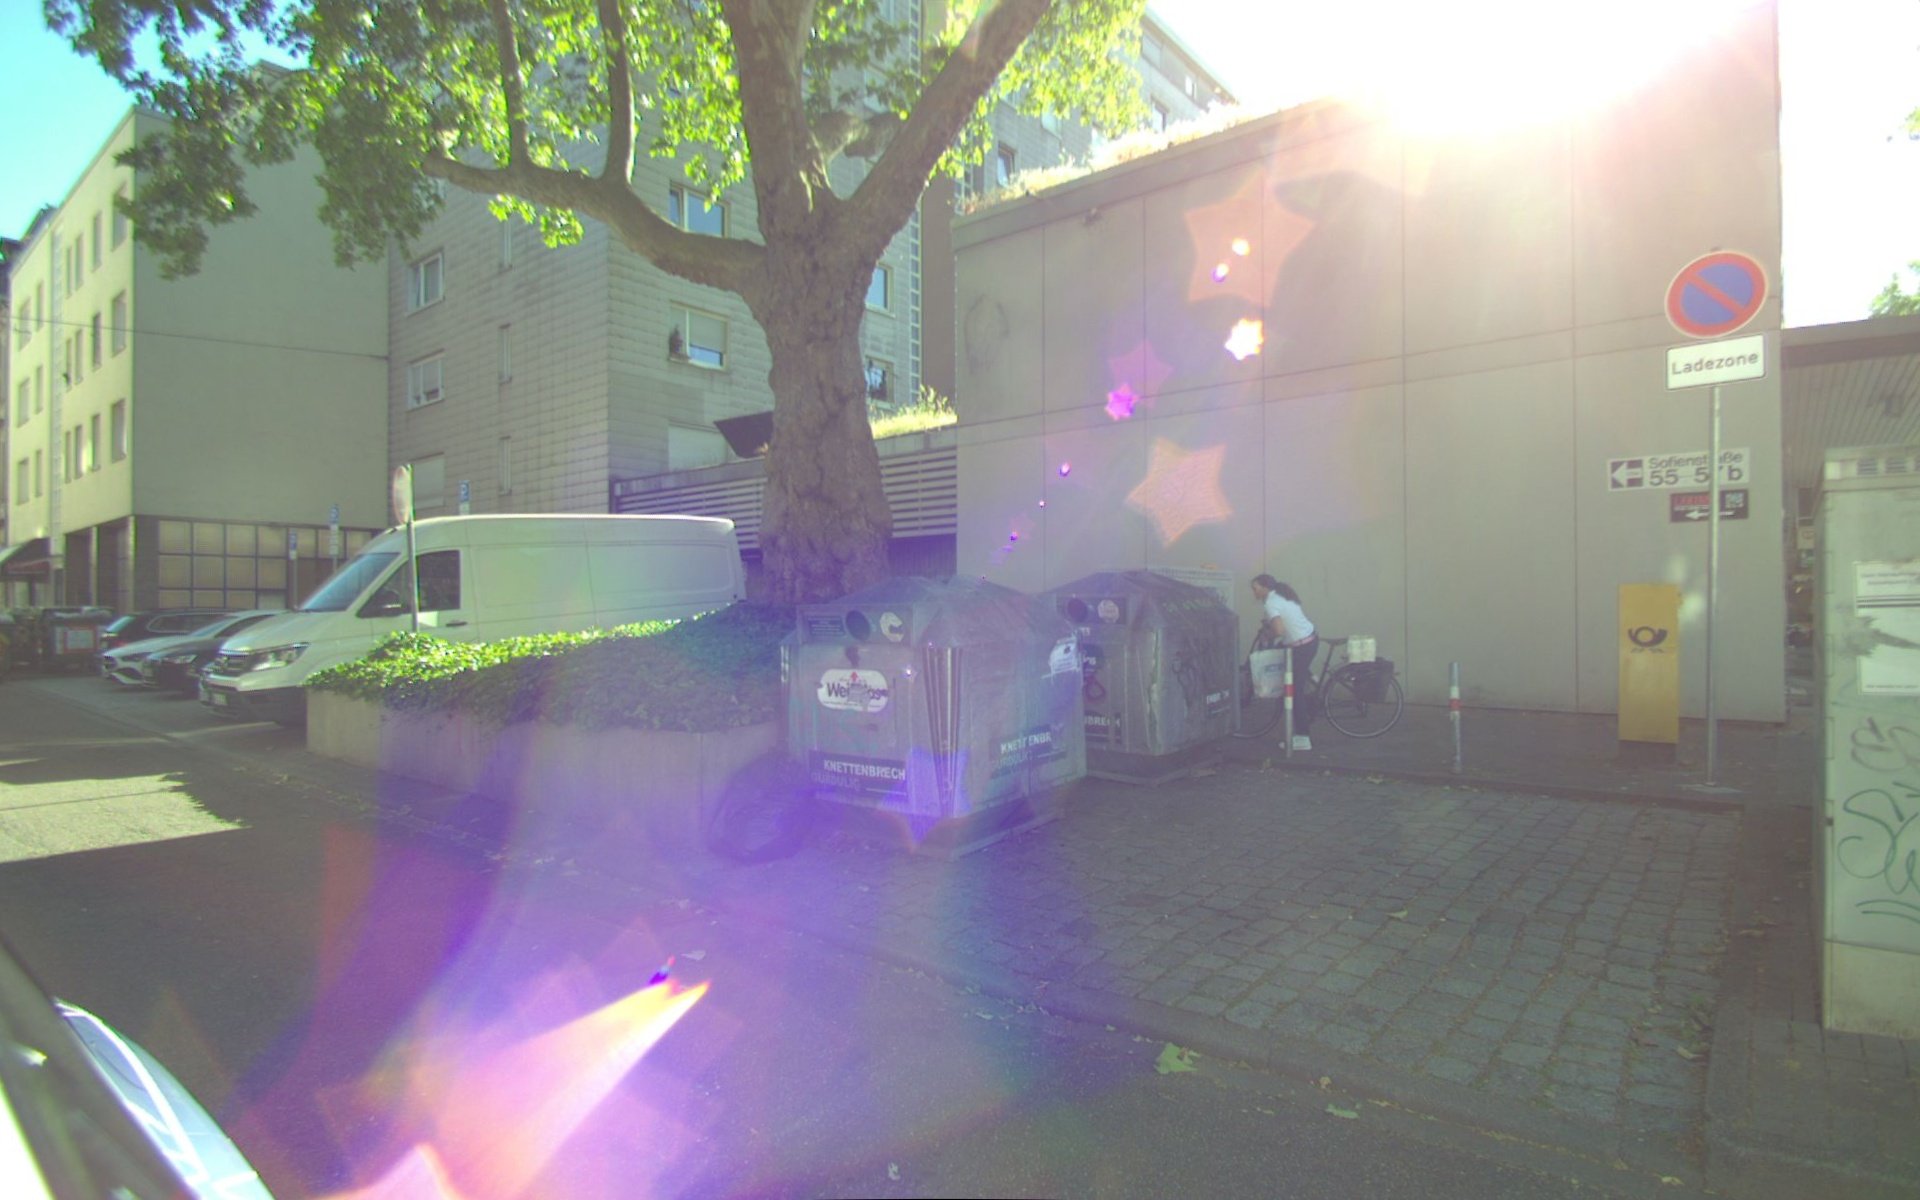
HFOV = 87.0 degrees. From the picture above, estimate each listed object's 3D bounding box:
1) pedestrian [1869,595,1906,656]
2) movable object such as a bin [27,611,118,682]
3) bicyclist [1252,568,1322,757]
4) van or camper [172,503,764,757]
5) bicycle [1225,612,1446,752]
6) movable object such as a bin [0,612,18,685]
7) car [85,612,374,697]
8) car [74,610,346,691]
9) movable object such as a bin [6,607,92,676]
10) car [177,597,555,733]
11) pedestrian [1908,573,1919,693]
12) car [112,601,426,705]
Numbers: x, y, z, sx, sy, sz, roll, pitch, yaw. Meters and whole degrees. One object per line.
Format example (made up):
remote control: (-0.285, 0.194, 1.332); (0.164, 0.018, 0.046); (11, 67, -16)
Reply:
pedestrian: (23.912, 0.641, 26.093); (0.689, 1.533, 0.524); (1, 0, 42)
movable object such as a bin: (-19.571, 0.997, 22.328); (1.193, 1.512, 1.312); (-1, -1, 38)
bicyclist: (2.909, 0.538, 8.984); (0.530, 1.596, 0.700); (-1, -1, 22)
van or camper: (-6.033, 0.173, 13.587); (1.999, 2.593, 6.836); (-2, 1, 40)
bicycle: (3.316, 0.717, 9.102); (1.698, 1.162, 0.803); (-1, 0, 9)
movable object such as a bin: (-21.047, 1.066, 21.435); (1.874, 1.511, 1.226); (-1, 4, 38)
car: (-14.215, 0.988, 19.970); (1.595, 1.474, 4.367); (-1, -1, 34)
car: (-15.812, 1.002, 21.572); (1.694, 1.545, 4.367); (-1, -1, 34)
movable object such as a bin: (-20.773, 0.933, 23.082); (1.515, 1.512, 1.207); (-1, -1, 38)
car: (-8.341, 0.796, 14.583); (1.697, 1.545, 4.361); (-1, 1, 39)
pedestrian: (13.818, 0.464, 14.306); (0.566, 1.679, 0.702); (0, 0, 41)
car: (-12.218, 0.867, 18.205); (1.694, 1.629, 4.367); (-1, -1, 34)
